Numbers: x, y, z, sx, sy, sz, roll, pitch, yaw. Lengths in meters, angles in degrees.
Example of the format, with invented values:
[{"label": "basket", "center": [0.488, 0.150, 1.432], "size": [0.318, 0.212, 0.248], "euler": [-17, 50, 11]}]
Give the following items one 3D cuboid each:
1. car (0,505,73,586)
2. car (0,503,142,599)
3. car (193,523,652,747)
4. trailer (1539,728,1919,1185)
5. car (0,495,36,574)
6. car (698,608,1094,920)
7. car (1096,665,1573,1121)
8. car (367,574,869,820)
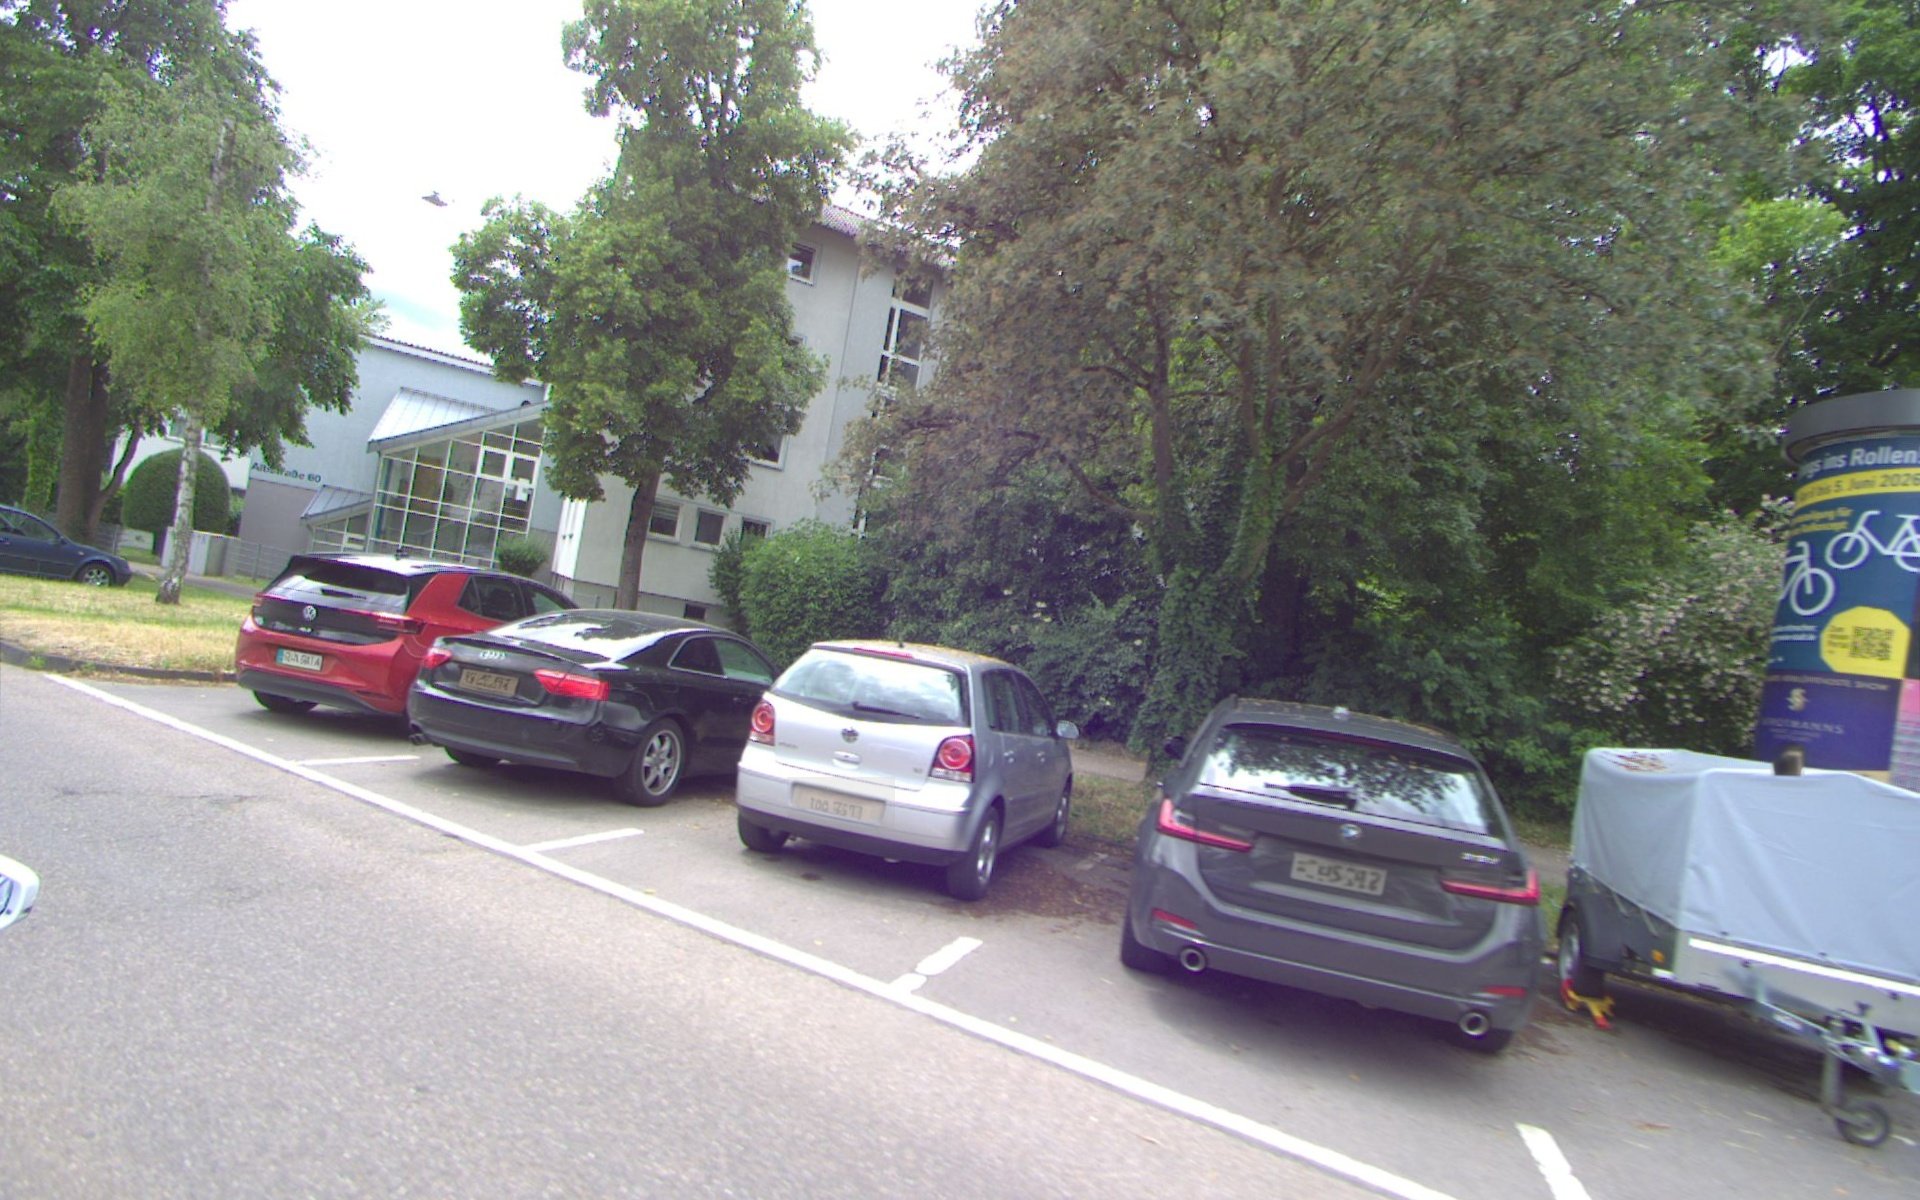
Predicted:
[{"label": "car", "center": [-19.527, -1.311, 18.778], "size": [1.723, 1.420, 4.049], "euler": [8, -3, 14]}, {"label": "car", "center": [-17.419, -1.045, 17.934], "size": [1.723, 1.420, 3.986], "euler": [8, -4, 17]}, {"label": "car", "center": [-4.881, 0.400, 9.945], "size": [1.700, 1.532, 4.091], "euler": [8, -3, 10]}, {"label": "trailer", "center": [4.192, 1.584, 5.234], "size": [1.279, 1.559, 3.001], "euler": [8, -3, 19]}, {"label": "car", "center": [-21.950, -1.703, 20.539], "size": [1.849, 1.637, 4.018], "euler": [8, -3, 16]}, {"label": "car", "center": [-0.166, 1.054, 7.368], "size": [1.603, 1.461, 3.629], "euler": [8, -3, 16]}, {"label": "car", "center": [1.939, 1.307, 6.092], "size": [1.603, 1.461, 4.367], "euler": [8, -3, 14]}, {"label": "car", "center": [-2.485, 0.817, 8.636], "size": [1.701, 1.355, 4.334], "euler": [8, -3, 18]}]
